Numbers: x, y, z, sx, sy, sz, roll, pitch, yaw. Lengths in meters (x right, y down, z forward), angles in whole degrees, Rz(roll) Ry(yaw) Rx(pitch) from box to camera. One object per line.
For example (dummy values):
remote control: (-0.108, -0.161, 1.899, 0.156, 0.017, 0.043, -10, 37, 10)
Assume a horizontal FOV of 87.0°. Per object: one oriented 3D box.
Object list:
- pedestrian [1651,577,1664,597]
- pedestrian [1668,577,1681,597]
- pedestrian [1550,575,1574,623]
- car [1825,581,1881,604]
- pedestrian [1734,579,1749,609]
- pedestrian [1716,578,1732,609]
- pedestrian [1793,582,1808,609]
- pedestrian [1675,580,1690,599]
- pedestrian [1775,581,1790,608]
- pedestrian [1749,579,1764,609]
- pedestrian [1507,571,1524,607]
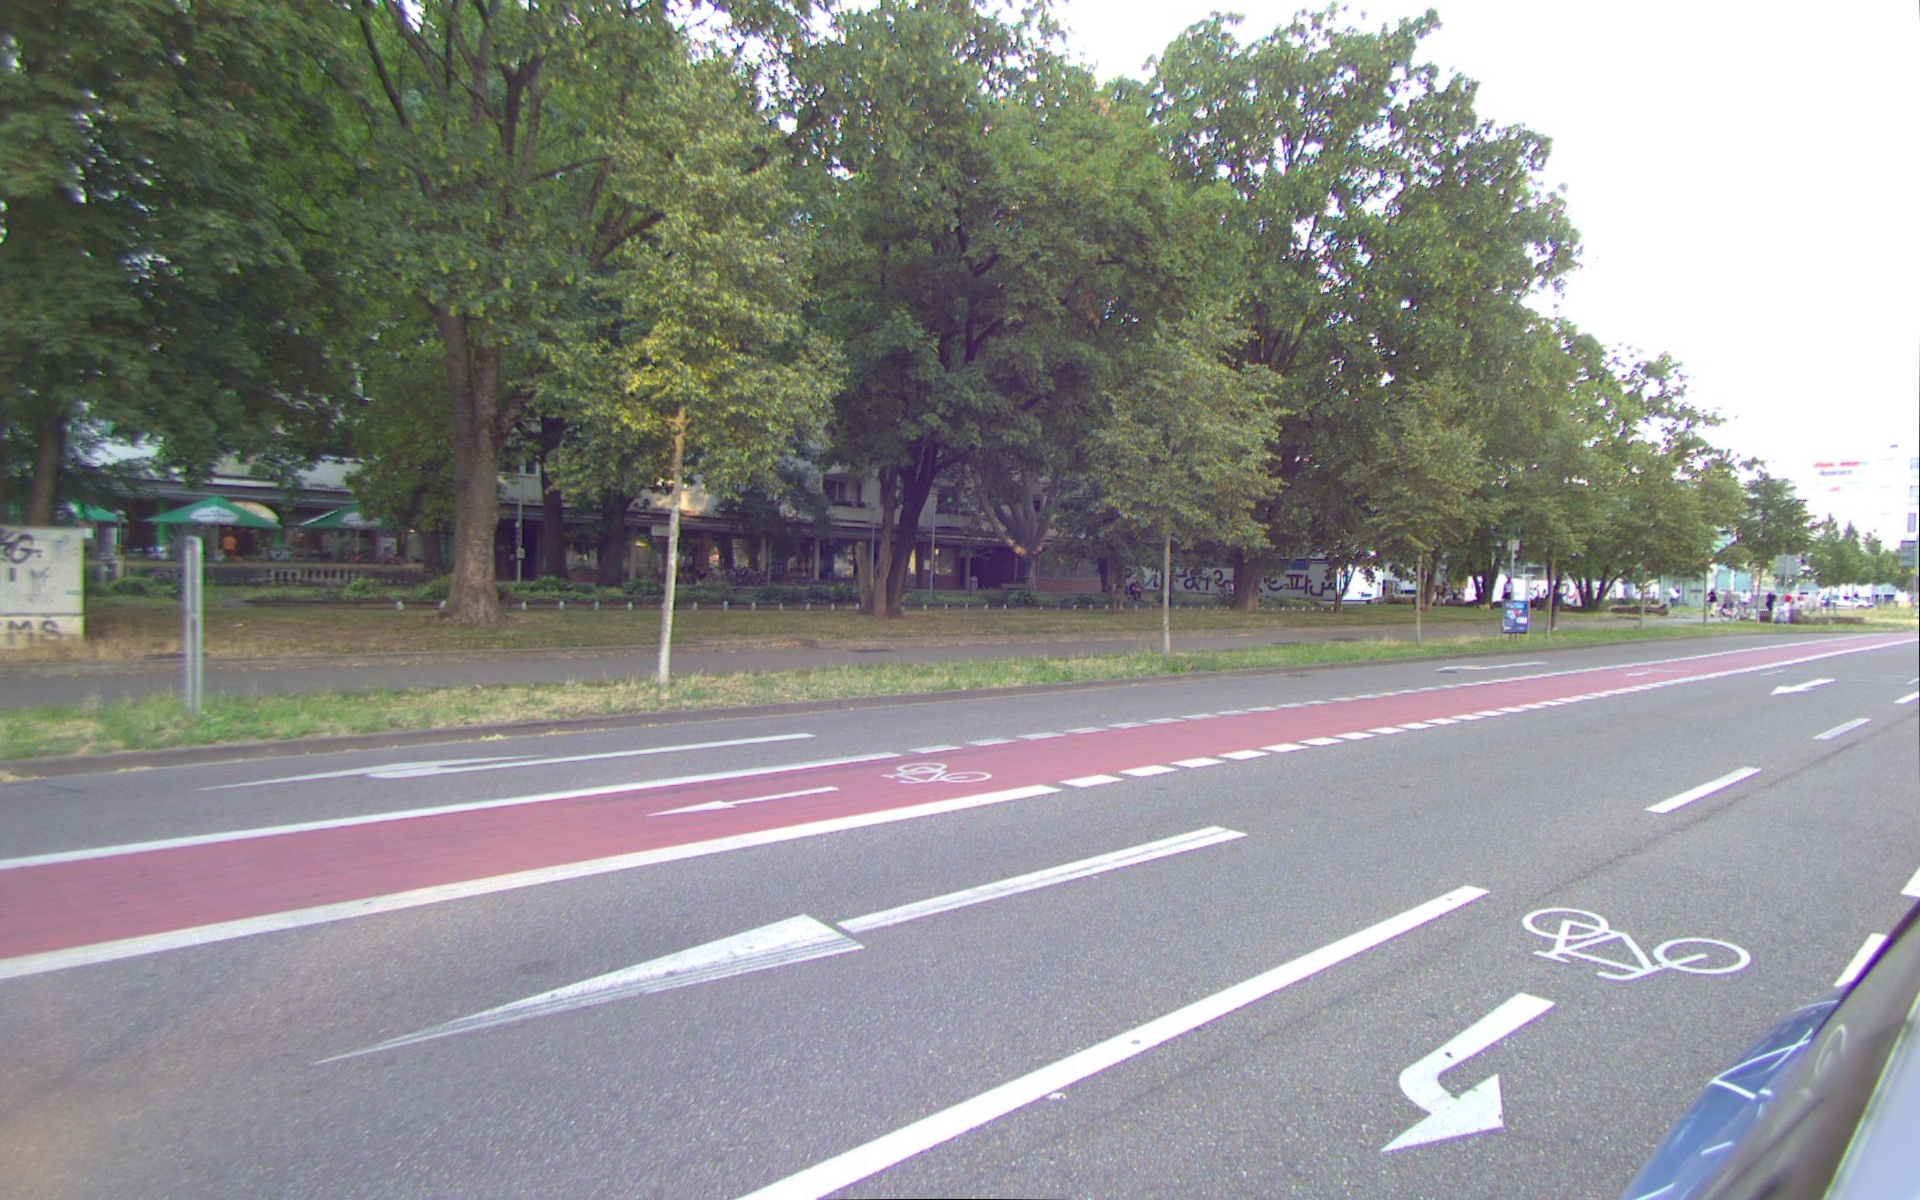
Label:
pedestrian: (49.417, -0.901, 71.686, 0.759, 1.371, 0.519, 0, 2, -41)
pedestrian: (50.156, -0.907, 71.014, 0.759, 1.371, 0.519, 0, 2, -41)
pedestrian: (22.471, -0.034, 37.771, 0.546, 1.760, 0.558, 0, 2, -41)
car: (87.146, -0.755, 98.776, 1.967, 2.038, 3.990, 0, 2, -45)
pedestrian: (47.145, -0.366, 61.042, 0.707, 1.751, 0.519, 0, 2, -40)
pedestrian: (44.044, -0.383, 58.334, 0.707, 1.751, 0.508, 0, 2, -41)
pedestrian: (56.142, -0.275, 67.613, 0.497, 1.779, 0.638, 0, 2, -40)
pedestrian: (52.078, -0.778, 72.949, 0.604, 1.371, 0.728, 0, 2, -40)
pedestrian: (55.833, -0.393, 68.704, 0.497, 1.779, 0.638, 0, 2, -40)
pedestrian: (47.573, -0.381, 60.420, 0.707, 1.751, 0.508, 0, 2, -41)
pedestrian: (25.616, -0.502, 46.663, 0.513, 1.621, 0.500, 0, 2, -41)
